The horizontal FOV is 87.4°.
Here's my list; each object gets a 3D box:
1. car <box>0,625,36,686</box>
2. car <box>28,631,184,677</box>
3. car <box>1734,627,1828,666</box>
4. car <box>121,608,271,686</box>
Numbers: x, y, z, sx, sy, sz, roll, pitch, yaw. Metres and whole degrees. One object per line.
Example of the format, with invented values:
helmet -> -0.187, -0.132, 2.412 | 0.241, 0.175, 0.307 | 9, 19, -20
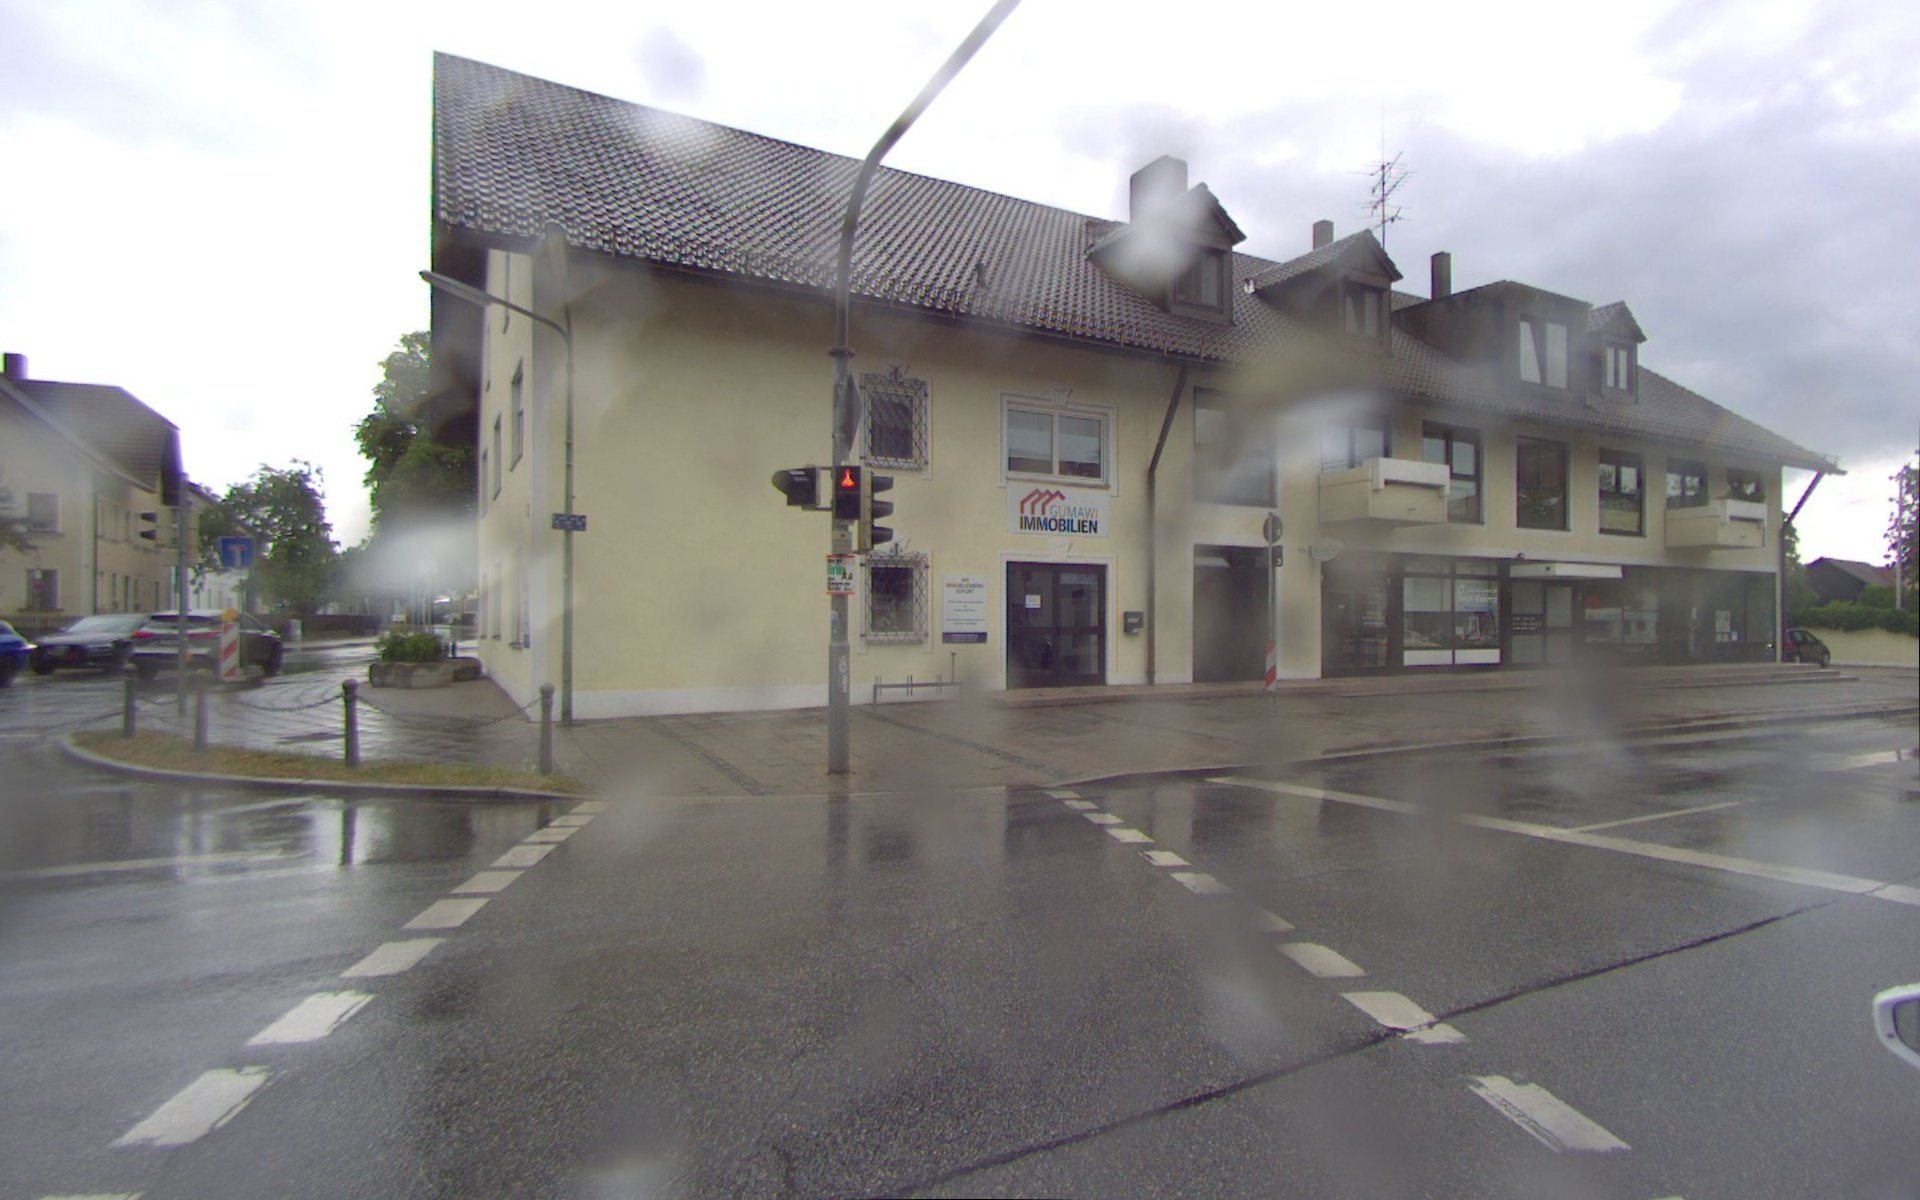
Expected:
car -> -19.662, 1.077, 18.781 | 1.661, 1.201, 4.346 | 1, -1, -16
car -> -21.466, 1.316, 25.438 | 1.400, 1.030, 4.061 | 1, -1, -15
car -> 30.808, 1.722, 37.666 | 3.467, 1.398, 1.600 | 1, -2, -30
car -> -18.345, 1.133, 24.357 | 2.062, 1.695, 4.358 | 2, -3, -26
